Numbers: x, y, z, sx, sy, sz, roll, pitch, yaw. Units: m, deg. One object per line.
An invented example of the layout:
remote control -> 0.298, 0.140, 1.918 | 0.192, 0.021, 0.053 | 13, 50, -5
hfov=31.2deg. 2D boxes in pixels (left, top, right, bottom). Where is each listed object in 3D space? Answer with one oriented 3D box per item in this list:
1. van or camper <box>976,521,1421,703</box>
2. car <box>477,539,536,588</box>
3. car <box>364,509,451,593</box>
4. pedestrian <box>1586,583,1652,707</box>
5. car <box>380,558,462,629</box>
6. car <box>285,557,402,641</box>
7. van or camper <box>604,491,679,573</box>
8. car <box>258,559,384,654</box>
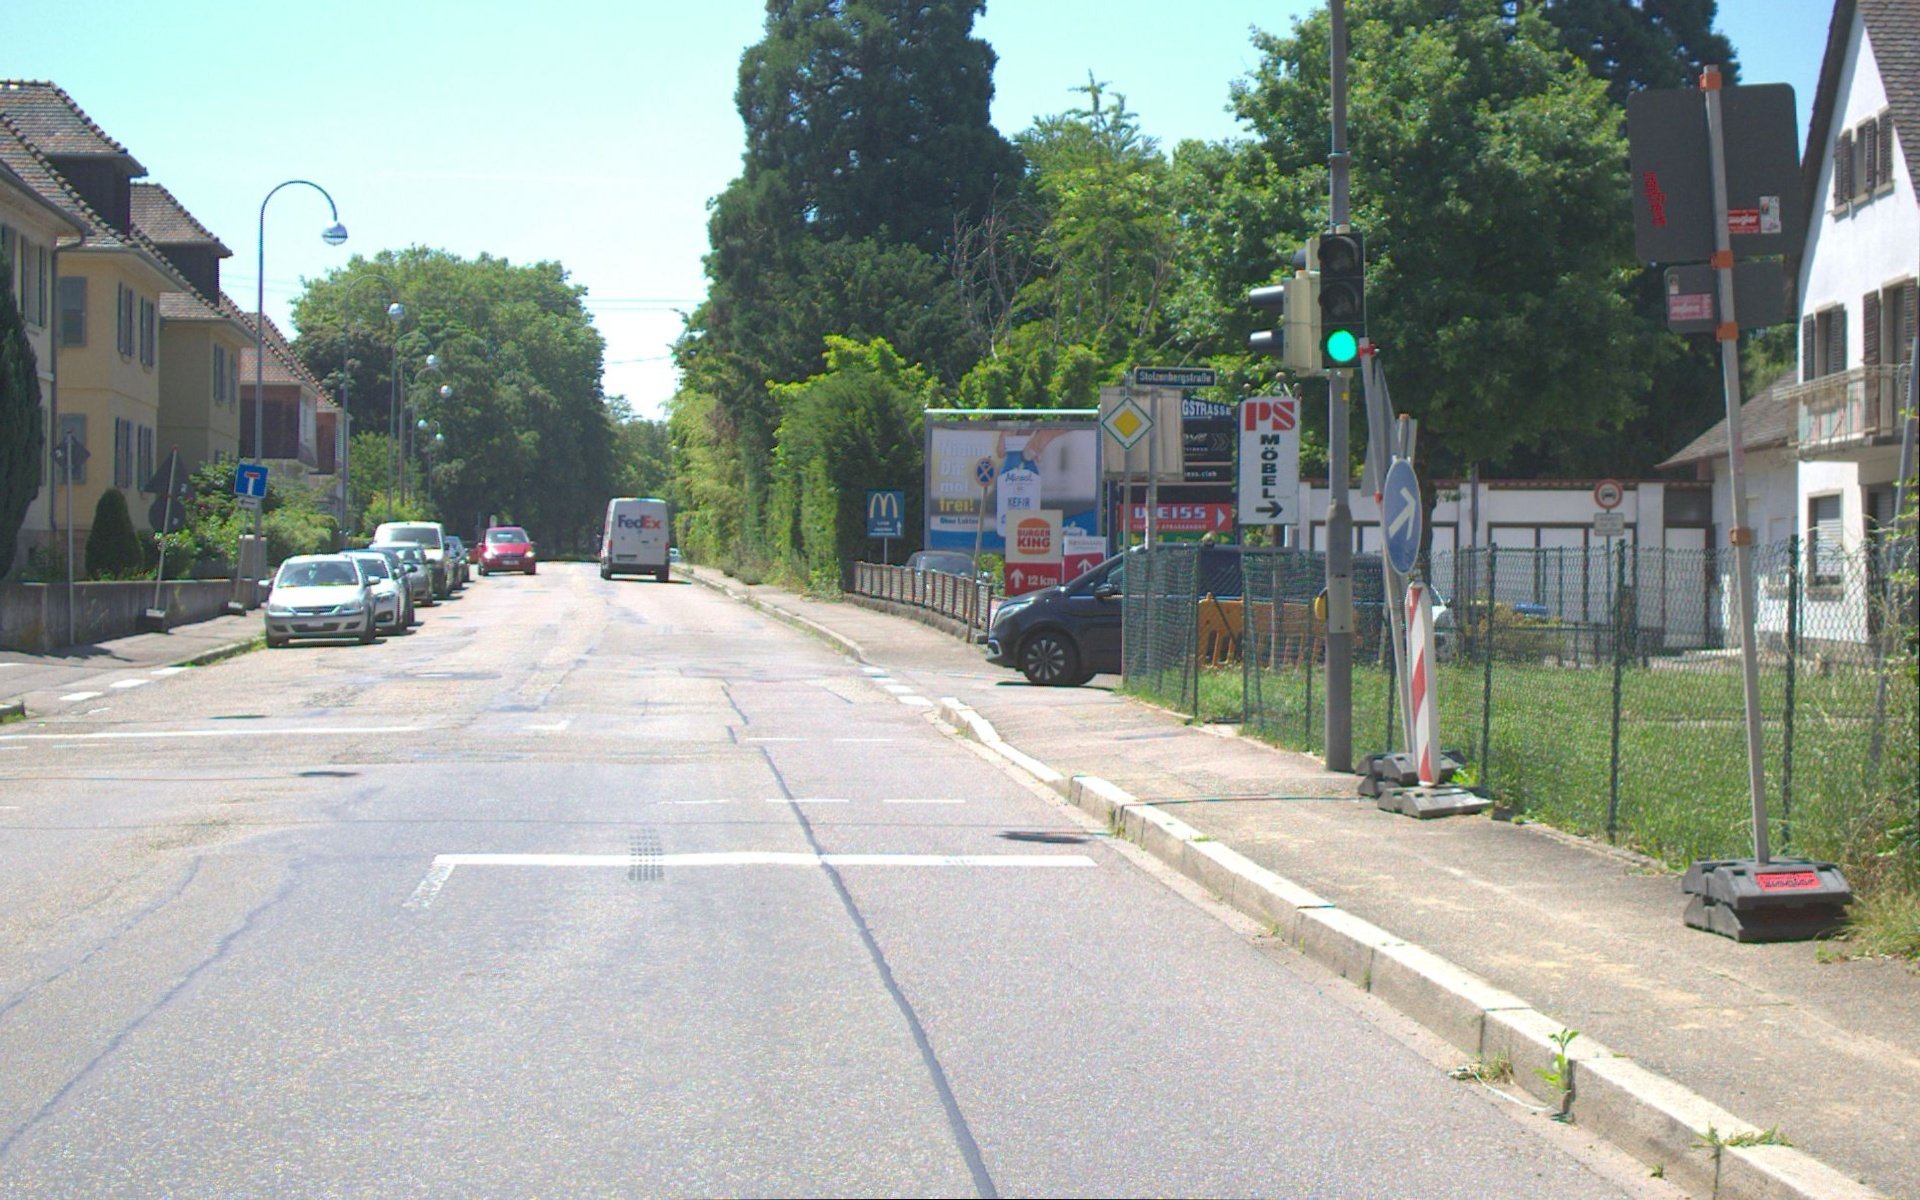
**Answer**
van or camper -> 2.939, 0.130, 42.123 | 5.254, 2.007, 1.908 | 2, 1, 6
car -> -14.735, -1.191, 111.801 | 1.814, 1.560, 3.697 | 0, 1, -6
car -> -13.691, -1.239, 85.382 | 1.877, 1.956, 4.627 | -2, 2, -7
pedestrian -> 8.532, 0.579, 44.541 | 0.695, 1.594, 0.573 | 0, 1, -6
car -> -12.350, -0.165, 78.906 | 1.686, 1.520, 4.063 | 1, 1, -7
car -> -10.801, -0.052, 60.443 | 1.794, 1.397, 4.220 | -1, 1, -7
van or camper -> -10.046, -2.129, 108.224 | 2.262, 2.519, 4.760 | -1, 1, -6
car -> -10.258, 0.082, 55.399 | 1.759, 1.442, 3.925 | -1, 1, -7
